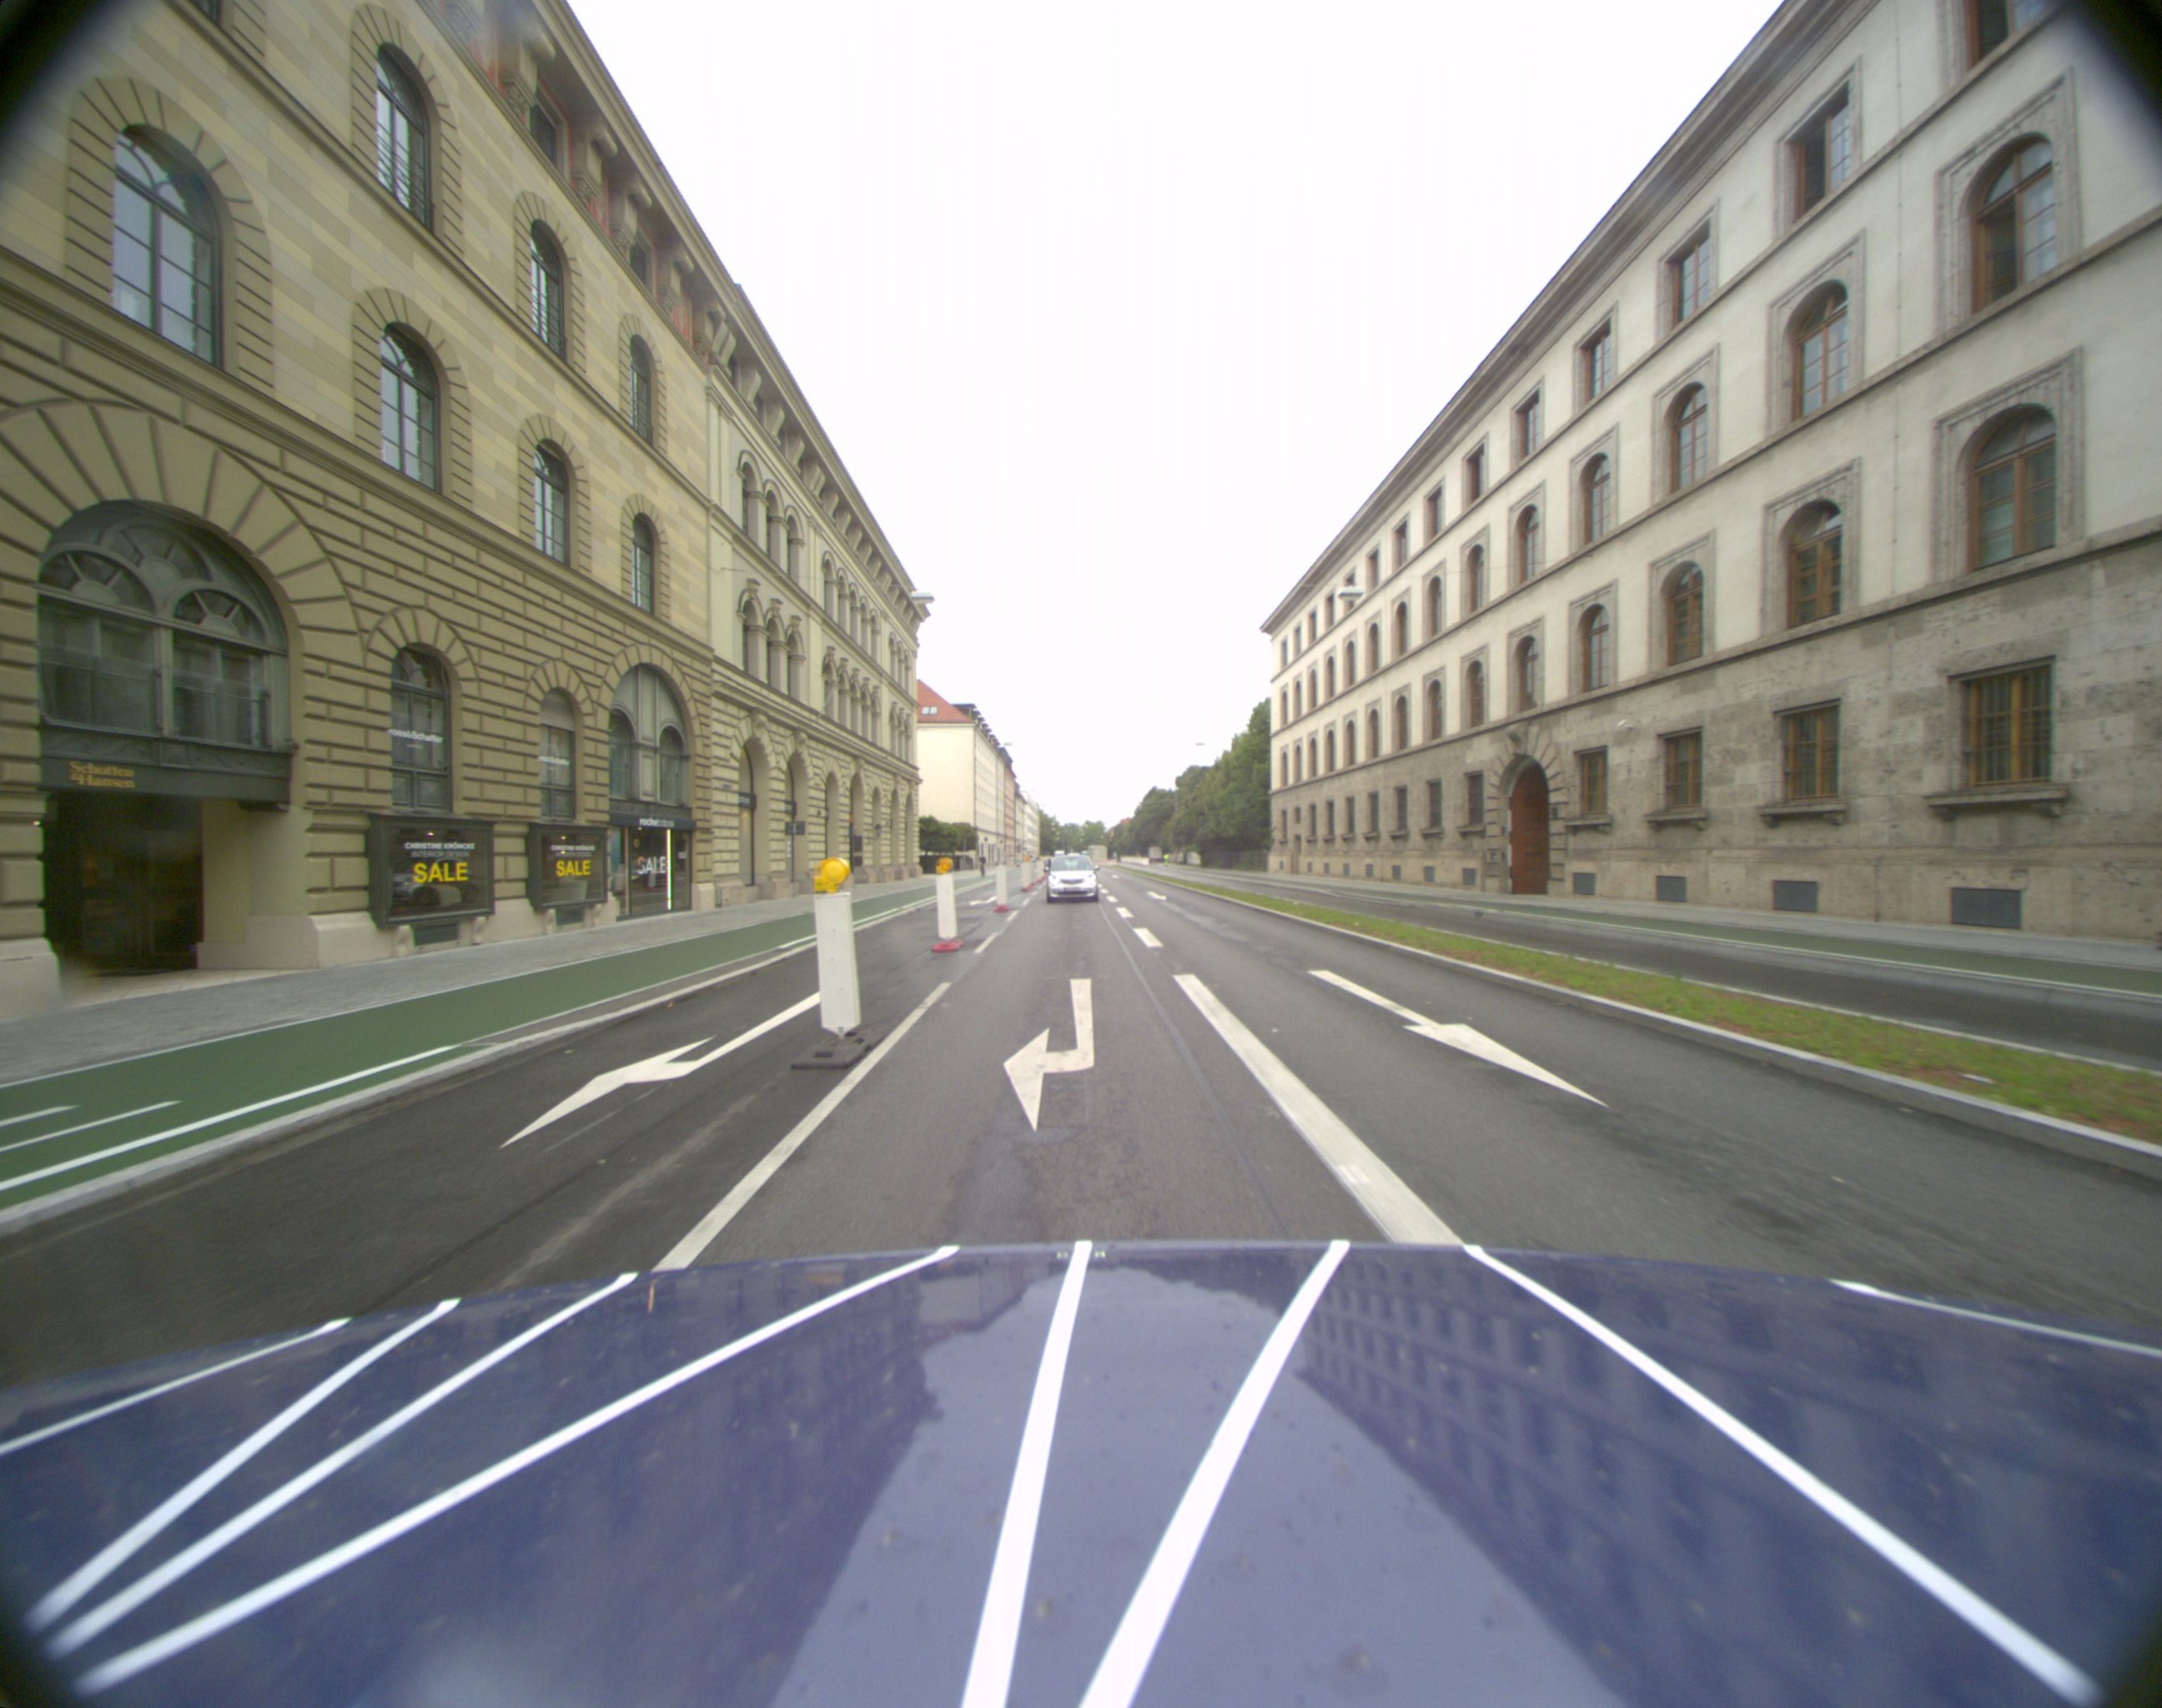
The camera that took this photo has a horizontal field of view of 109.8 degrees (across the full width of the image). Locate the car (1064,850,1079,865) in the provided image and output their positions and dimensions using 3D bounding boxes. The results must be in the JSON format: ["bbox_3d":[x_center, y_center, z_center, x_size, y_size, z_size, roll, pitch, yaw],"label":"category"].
[{"bbox_3d":[-1.225,0.448,104.035,1.999,2.002,3.999,0,0,0],"label":"car"}]

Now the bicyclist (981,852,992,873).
[{"bbox_3d":[-7.129,0.655,57.466,0.724,1.543,0.858,-2,1,-1],"label":"bicyclist"}]

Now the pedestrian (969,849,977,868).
[{"bbox_3d":[-10.849,0.425,76.217,0.655,1.863,0.826,1,1,-1],"label":"pedestrian"}]

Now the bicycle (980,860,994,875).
[{"bbox_3d":[-7.119,0.994,57.531,0.751,1.026,2.530,-2,0,-1],"label":"bicycle"}]

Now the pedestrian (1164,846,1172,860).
[{"bbox_3d":[12.653,-0.096,110.598,0.869,2.002,0.756,-2,1,-36],"label":"pedestrian"}]

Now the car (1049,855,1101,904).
[{"bbox_3d":[-0.206,0.804,26.008,1.633,1.494,3.999,-1,0,-1],"label":"car"}]

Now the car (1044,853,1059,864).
[{"bbox_3d":[-3.684,0.550,96.140,1.739,1.425,3.999,-1,0,-1],"label":"car"}]
